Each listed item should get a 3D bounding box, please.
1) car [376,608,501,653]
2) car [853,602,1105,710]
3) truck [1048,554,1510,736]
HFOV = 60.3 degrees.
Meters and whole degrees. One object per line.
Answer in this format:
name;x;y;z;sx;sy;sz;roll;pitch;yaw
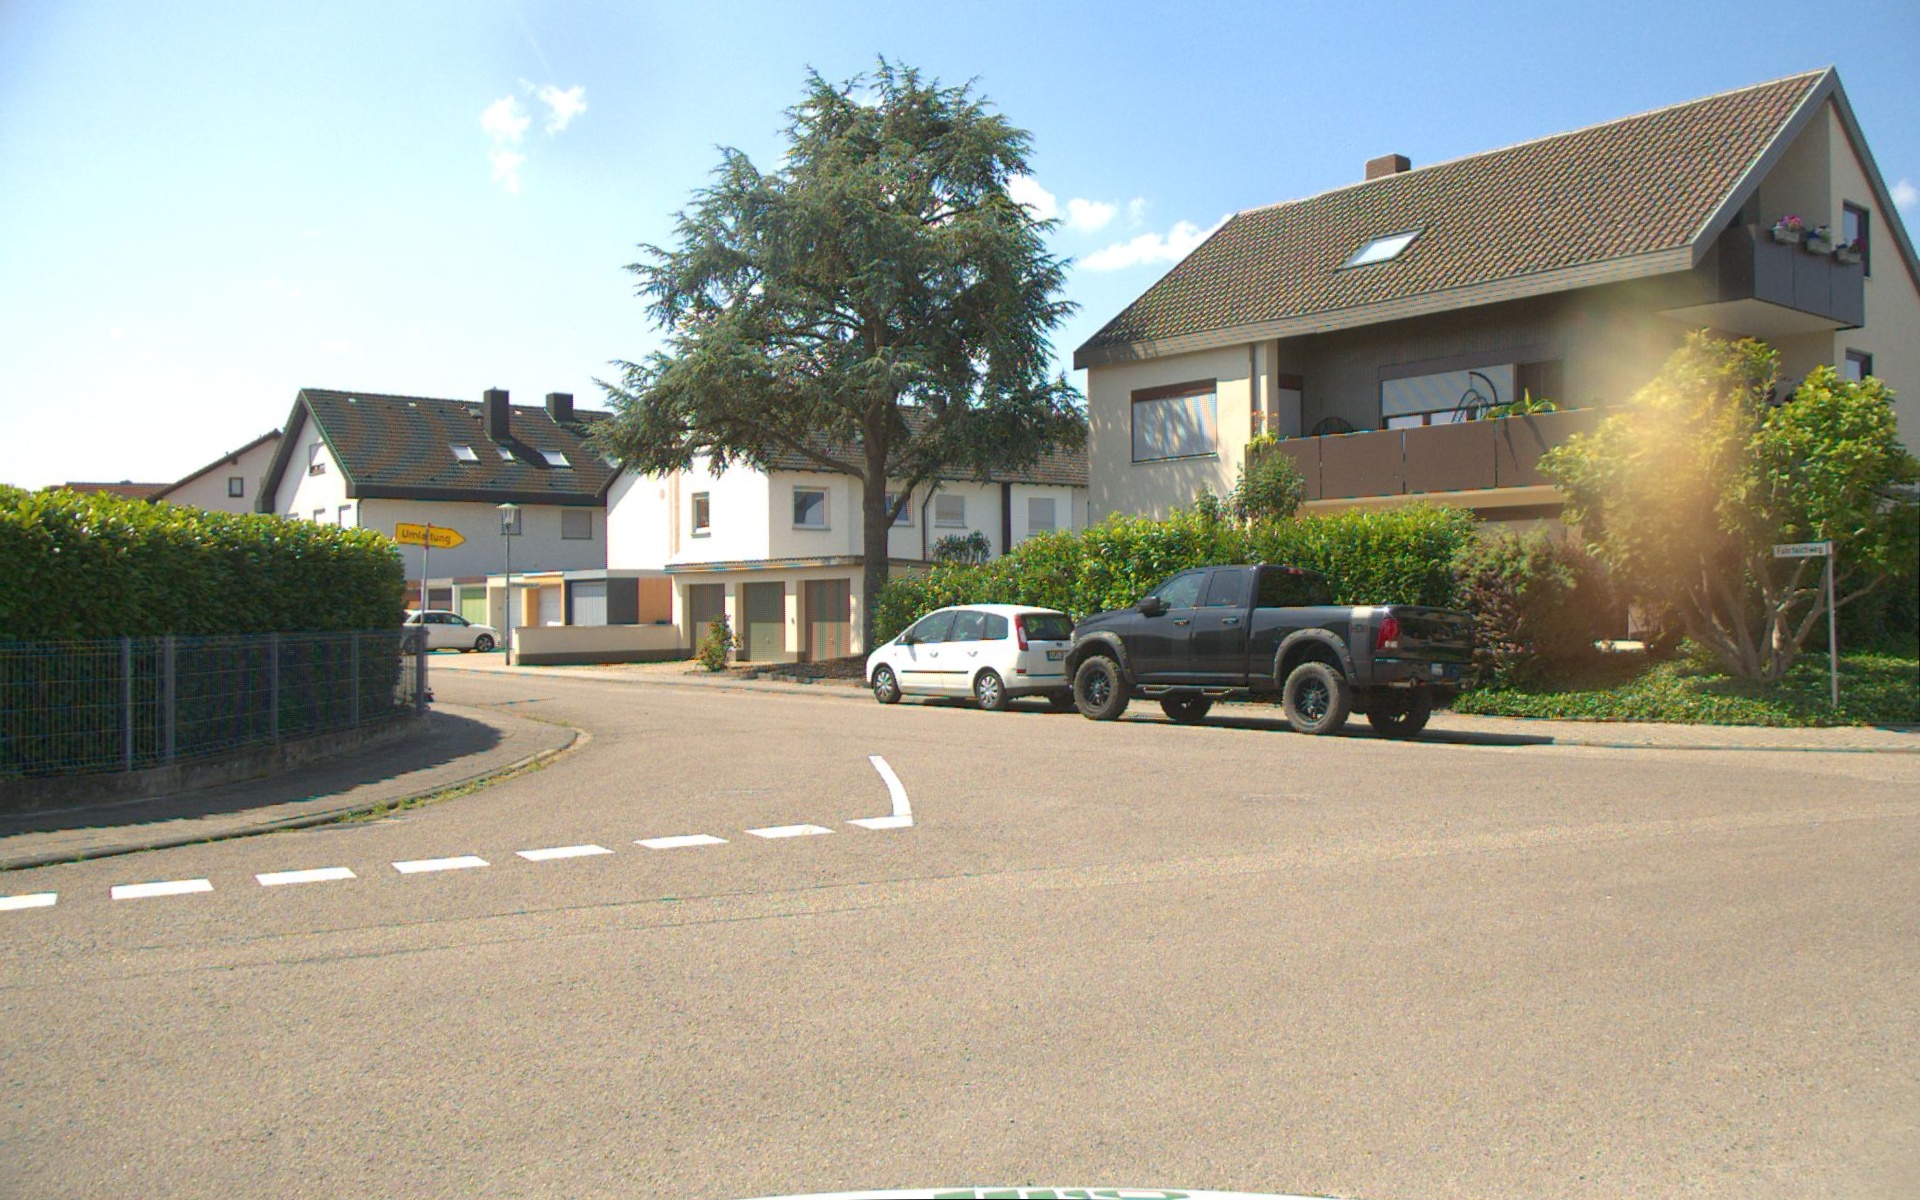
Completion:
car;-17.345;0.999;55.072;3.577;1.433;1.758;0;0;-40
car;0.235;0.852;26.648;1.788;1.590;4.079;0;0;-42
truck;3.969;0.582;21.468;2.352;2.049;5.622;3;-3;-43
